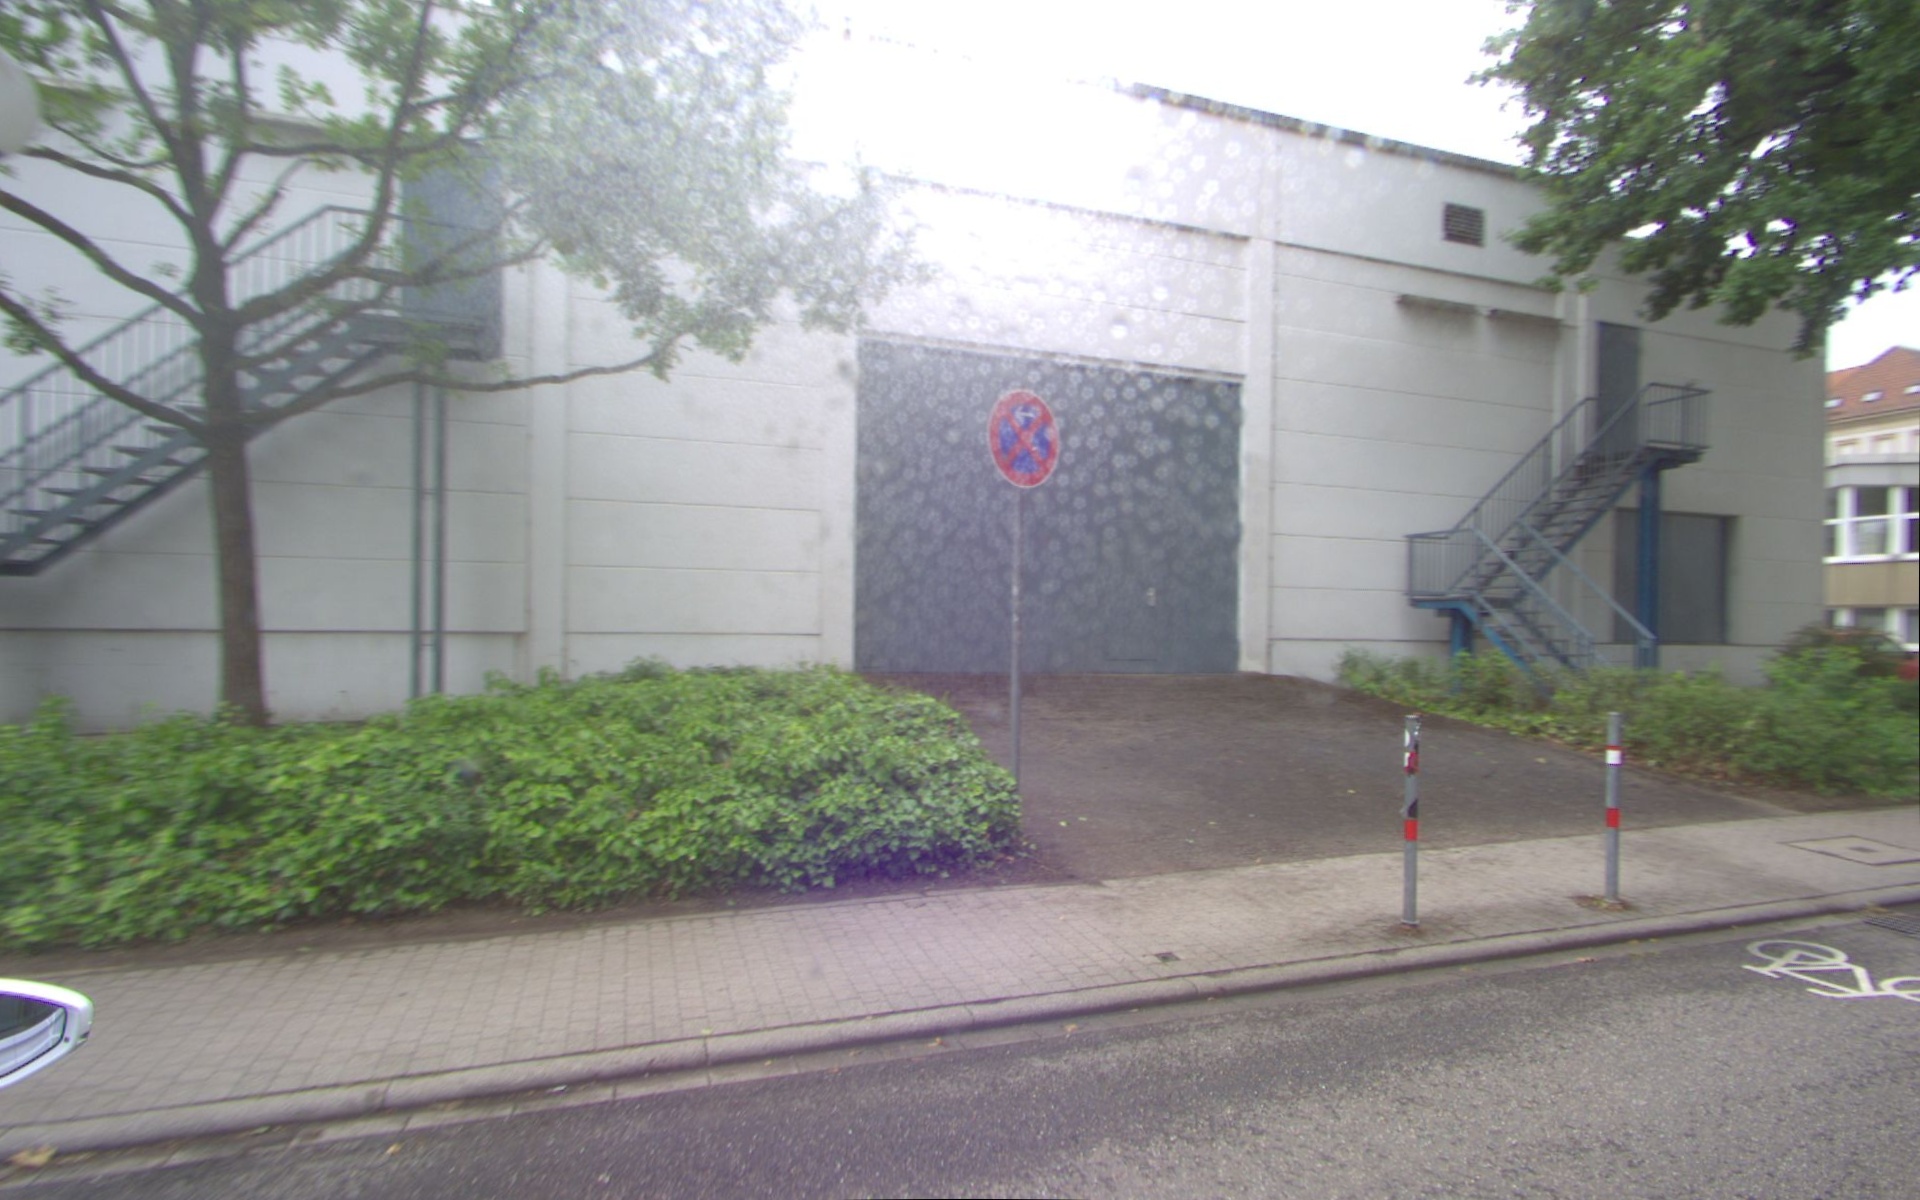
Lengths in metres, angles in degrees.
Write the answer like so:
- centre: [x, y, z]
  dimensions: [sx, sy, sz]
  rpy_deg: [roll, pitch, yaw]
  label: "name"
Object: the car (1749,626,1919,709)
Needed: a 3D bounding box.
- centre: [18.653, 1.354, 20.720]
  dimensions: [3.932, 1.550, 1.864]
  rpy_deg: [1, -1, -20]
  label: "car"
